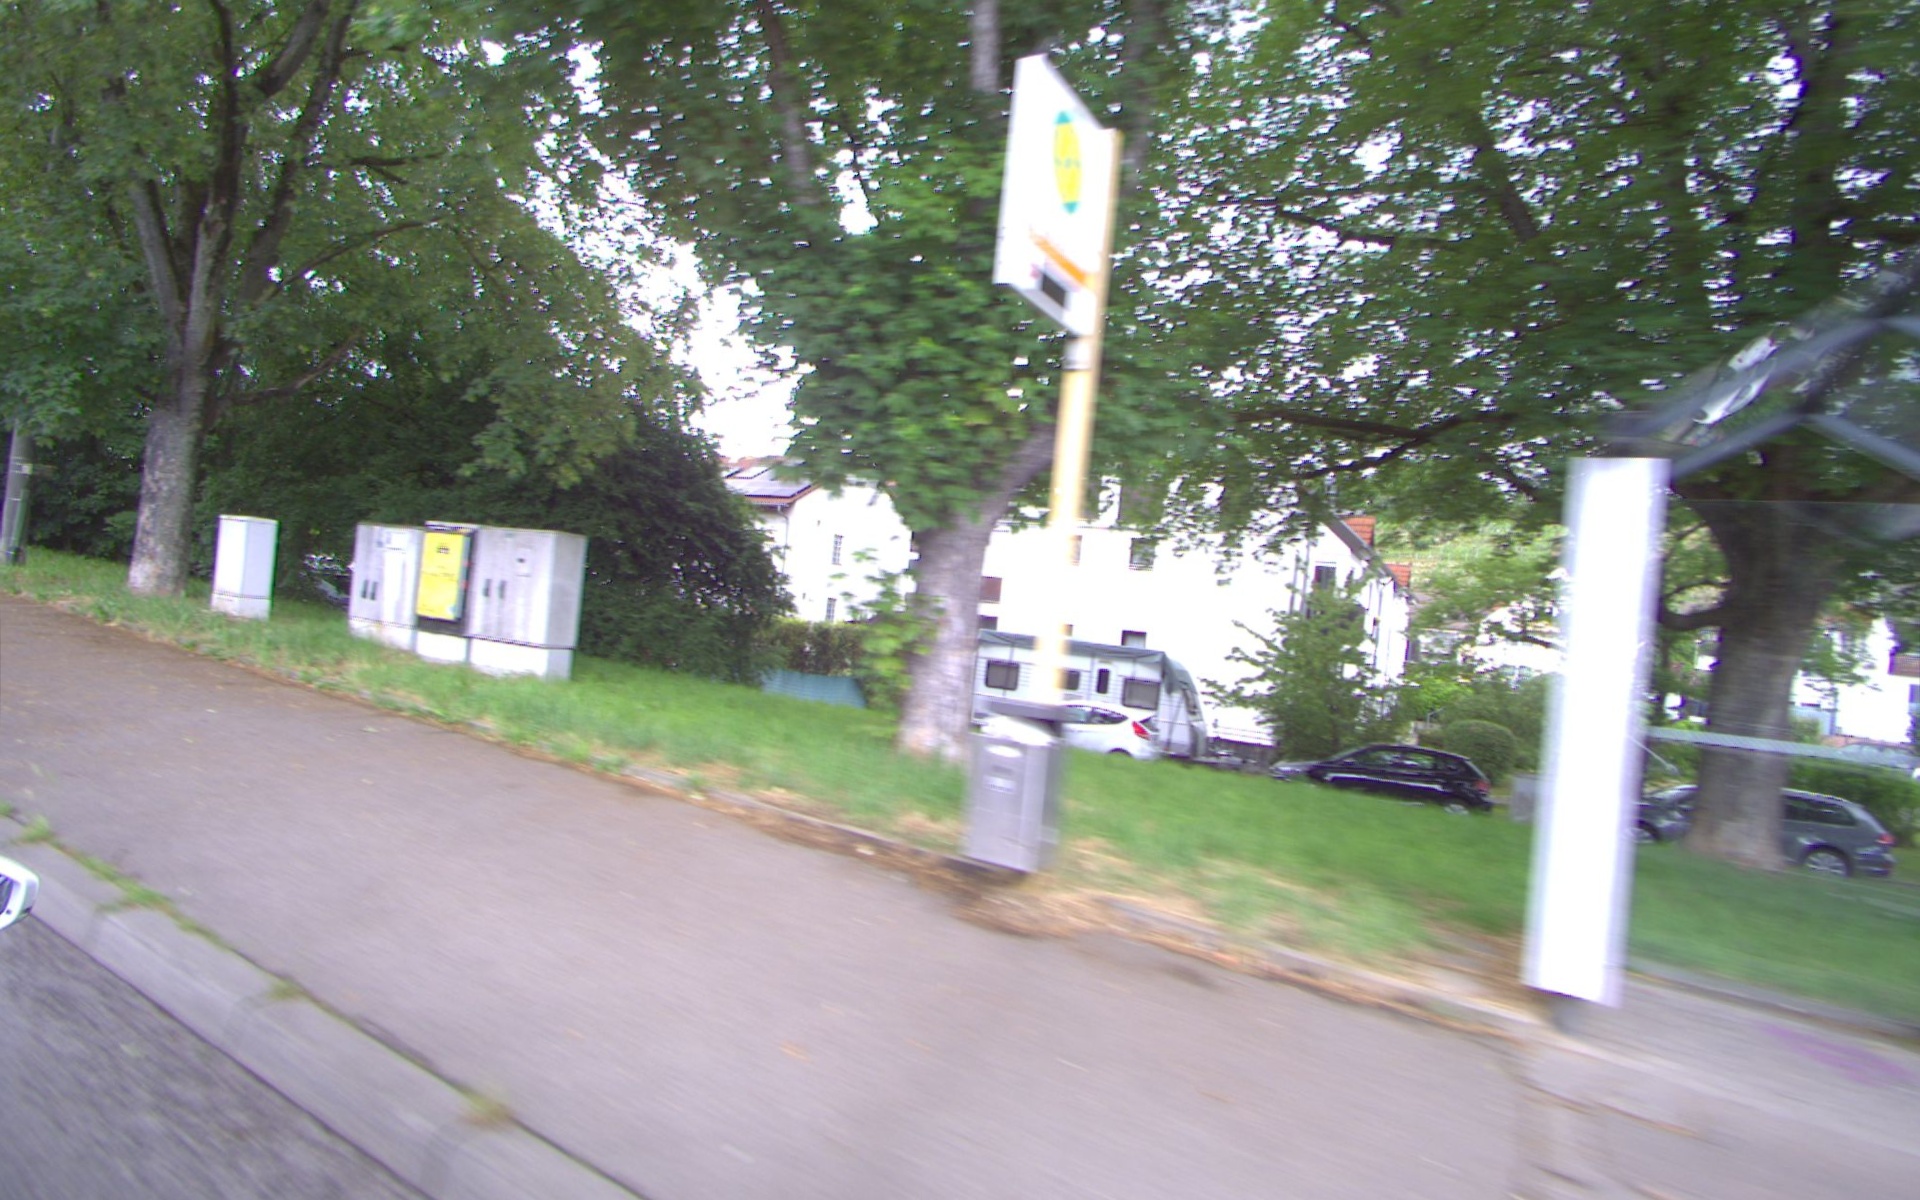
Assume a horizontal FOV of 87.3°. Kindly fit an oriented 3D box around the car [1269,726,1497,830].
[{"bbox_3d":[8.013,3.349,19.352,3.786,1.260,1.629,6,-3,20],"label":"car"}]

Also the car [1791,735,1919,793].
[{"bbox_3d":[35.404,6.412,39.626,1.963,1.535,4.003,7,-1,3],"label":"car"}]

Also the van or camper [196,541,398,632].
[{"bbox_3d":[-20.542,-0.433,31.172,5.734,2.036,2.187,6,-3,22],"label":"van or camper"}]

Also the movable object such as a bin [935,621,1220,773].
[{"bbox_3d":[2.763,2.230,23.938,6.158,2.652,2.002,6,-3,23],"label":"movable object such as a bin"}]

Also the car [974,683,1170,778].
[{"bbox_3d":[2.396,2.749,21.477,3.769,1.401,1.485,6,-3,21],"label":"car"}]

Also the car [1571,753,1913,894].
[{"bbox_3d":[13.149,3.719,17.244,4.210,1.477,1.667,6,-3,20],"label":"car"}]

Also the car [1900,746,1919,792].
[{"bbox_3d":[34.836,6.086,34.180,1.963,1.535,4.003,7,-1,3],"label":"car"}]

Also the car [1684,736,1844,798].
[{"bbox_3d":[27.814,5.733,35.030,1.963,1.441,4.475,7,-3,2],"label":"car"}]
